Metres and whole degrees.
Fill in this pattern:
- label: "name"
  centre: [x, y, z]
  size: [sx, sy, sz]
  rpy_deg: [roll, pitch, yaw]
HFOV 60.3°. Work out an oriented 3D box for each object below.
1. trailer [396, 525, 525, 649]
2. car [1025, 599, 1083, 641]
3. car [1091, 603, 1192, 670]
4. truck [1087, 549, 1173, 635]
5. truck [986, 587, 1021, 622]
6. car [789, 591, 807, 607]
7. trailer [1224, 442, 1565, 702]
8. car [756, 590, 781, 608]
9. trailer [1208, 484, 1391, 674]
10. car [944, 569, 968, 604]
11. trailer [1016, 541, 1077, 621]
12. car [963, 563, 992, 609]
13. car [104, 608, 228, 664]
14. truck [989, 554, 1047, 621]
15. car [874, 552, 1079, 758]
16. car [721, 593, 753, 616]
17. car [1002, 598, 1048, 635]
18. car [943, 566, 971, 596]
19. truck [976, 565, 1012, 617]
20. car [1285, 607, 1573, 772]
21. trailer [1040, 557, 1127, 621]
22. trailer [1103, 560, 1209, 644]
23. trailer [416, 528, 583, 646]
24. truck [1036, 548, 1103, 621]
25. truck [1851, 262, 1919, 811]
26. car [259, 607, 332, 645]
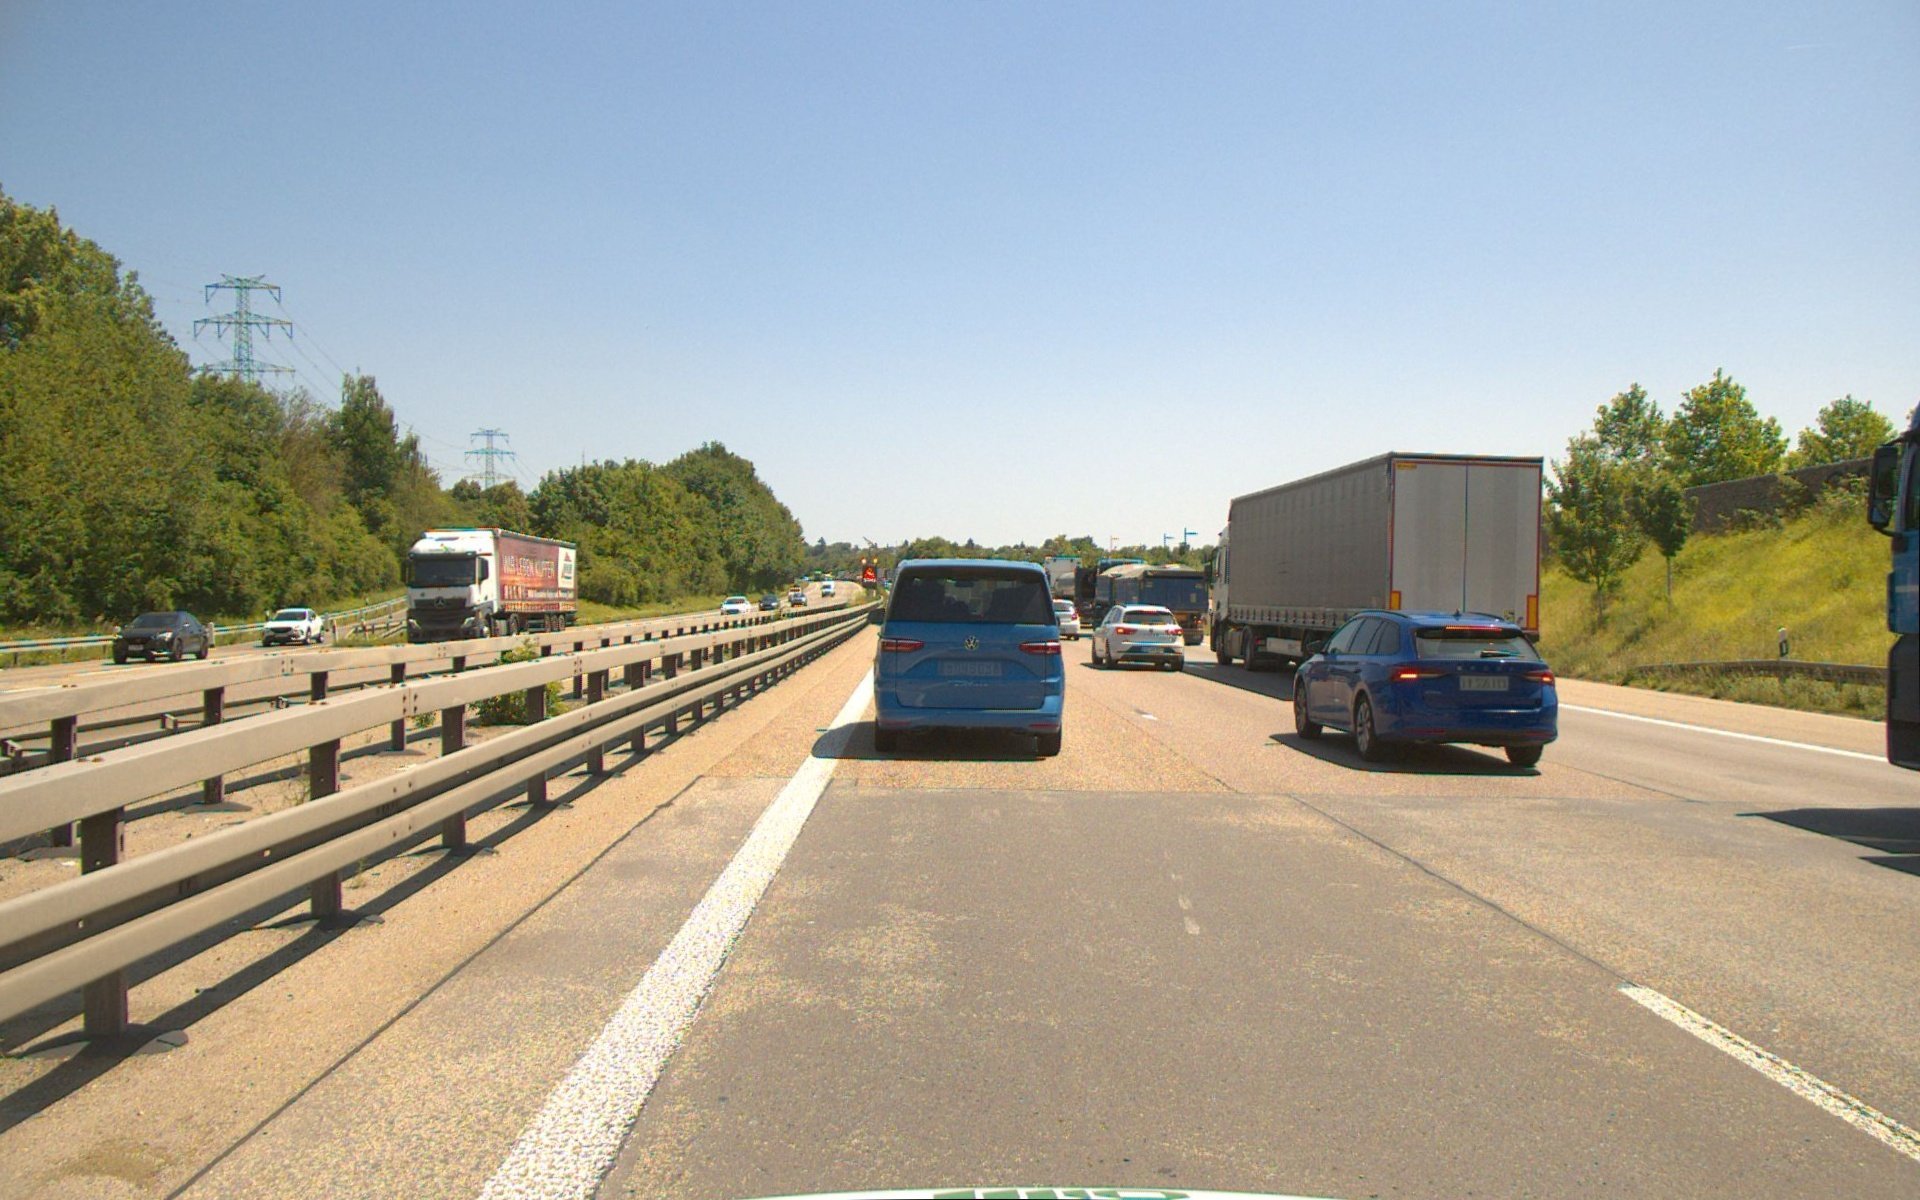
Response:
- label: "trailer"
  centre: [-17.415, -0.460, 58.081]
  size: [2.701, 4.045, 6.130]
  rpy_deg: [-1, 0, -2]
- label: "car"
  centre: [3.527, 0.757, 62.873]
  size: [1.803, 1.480, 3.998]
  rpy_deg: [2, -1, -2]
- label: "car"
  centre: [4.107, 0.795, 38.005]
  size: [1.829, 1.385, 4.000]
  rpy_deg: [2, 0, 0]
- label: "truck"
  centre: [7.101, -0.383, 70.107]
  size: [2.688, 3.369, 7.131]
  rpy_deg: [2, 1, -1]
- label: "truck"
  centre: [2.398, 0.268, 92.071]
  size: [1.690, 1.890, 3.998]
  rpy_deg: [2, -1, -2]
- label: "car"
  centre: [-17.730, -0.078, 181.495]
  size: [1.738, 1.659, 3.949]
  rpy_deg: [2, -1, -3]
- label: "trailer"
  centre: [8.054, -0.457, 33.324]
  size: [2.902, 4.120, 13.748]
  rpy_deg: [1, 0, -1]
- label: "car"
  centre: [-16.700, -0.071, 144.006]
  size: [1.838, 1.472, 4.143]
  rpy_deg: [-1, 0, -3]
- label: "trailer"
  centre: [7.929, -0.486, 39.482]
  size: [2.865, 4.114, 6.409]
  rpy_deg: [1, 0, -1]
- label: "car"
  centre: [-0.667, -2.114, 259.816]
  size: [3.154, 5.349, 8.139]
  rpy_deg: [2, -1, -3]
- label: "trailer"
  centre: [6.018, -1.209, 117.201]
  size: [3.571, 5.226, 13.075]
  rpy_deg: [2, -1, 0]
- label: "car"
  centre: [2.083, -1.630, 201.920]
  size: [3.153, 5.349, 8.140]
  rpy_deg: [2, -1, -2]
- label: "car"
  centre: [-24.693, 1.075, 51.649]
  size: [1.956, 1.603, 5.264]
  rpy_deg: [2, -1, -8]
- label: "truck"
  centre: [4.811, -0.948, 140.912]
  size: [3.549, 5.304, 15.679]
  rpy_deg: [2, -1, -3]
- label: "car"
  centre: [0.148, 0.533, 17.405]
  size: [1.862, 1.870, 3.999]
  rpy_deg: [2, -1, 0]
- label: "car"
  centre: [-15.130, 0.328, 112.353]
  size: [1.813, 1.493, 4.302]
  rpy_deg: [0, -1, -3]
- label: "car"
  centre: [2.885, 0.737, 74.213]
  size: [1.745, 1.551, 3.998]
  rpy_deg: [2, -1, -2]
- label: "car"
  centre: [-0.316, -1.848, 163.319]
  size: [2.499, 2.765, 5.619]
  rpy_deg: [2, -1, -2]
- label: "truck"
  centre: [3.351, -0.833, 167.043]
  size: [3.006, 5.006, 10.685]
  rpy_deg: [2, -1, -2]
- label: "car"
  centre: [4.714, 0.837, 17.299]
  size: [1.671, 1.466, 4.426]
  rpy_deg: [2, -1, -1]
- label: "trailer"
  centre: [6.684, -0.483, 92.093]
  size: [3.572, 3.133, 15.770]
  rpy_deg: [2, -1, 0]
- label: "trailer"
  centre: [7.273, -0.012, 62.663]
  size: [2.688, 2.886, 9.113]
  rpy_deg: [2, 1, -1]
- label: "trailer"
  centre: [-17.589, -0.516, 64.502]
  size: [2.707, 4.045, 14.677]
  rpy_deg: [-1, 1, -1]
- label: "truck"
  centre: [6.625, -0.883, 100.916]
  size: [3.551, 4.166, 7.523]
  rpy_deg: [2, -1, 0]
- label: "truck"
  centre: [8.736, -0.457, 8.494]
  size: [2.709, 4.181, 9.950]
  rpy_deg: [2, 0, -1]
- label: "car"
  centre: [-27.899, 1.079, 69.576]
  size: [1.653, 1.481, 4.340]
  rpy_deg: [2, -1, -6]
